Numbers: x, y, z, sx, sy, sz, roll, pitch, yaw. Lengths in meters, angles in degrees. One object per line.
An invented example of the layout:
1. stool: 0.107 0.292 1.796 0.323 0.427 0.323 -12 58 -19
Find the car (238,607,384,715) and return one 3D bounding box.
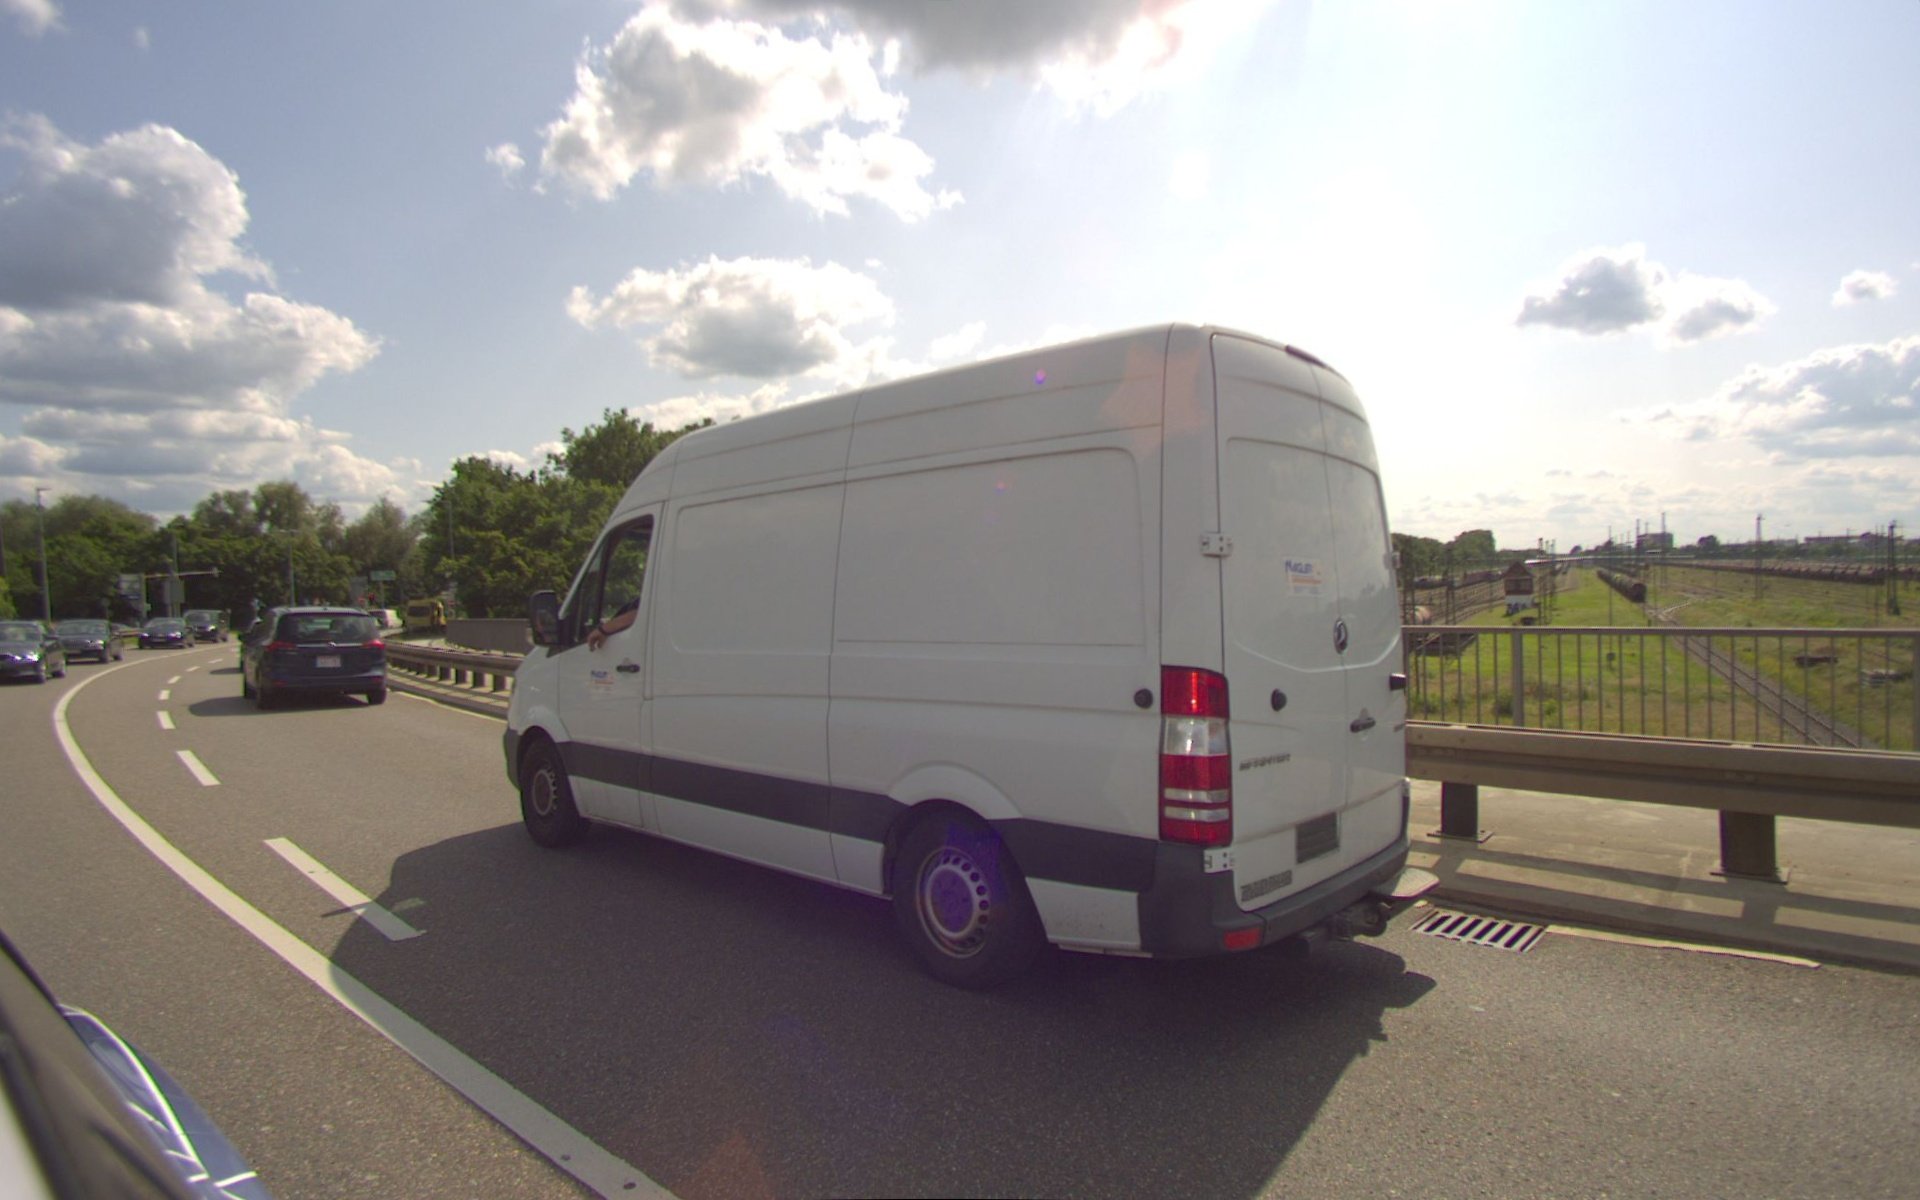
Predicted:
1. car: -11.426 0.950 17.682 1.695 1.644 4.436 0 -1 -39

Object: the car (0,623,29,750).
1. car: -11.549 0.990 10.831 1.767 1.446 4.380 1 -1 -35

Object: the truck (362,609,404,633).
1. truck: -47.358 1.713 83.144 1.933 1.927 5.386 -1 -1 -17

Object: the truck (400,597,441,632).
1. truck: -42.882 1.186 80.566 1.965 2.641 6.123 1 -2 -19

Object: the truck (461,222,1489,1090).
1. truck: -0.560 0.211 5.685 5.946 2.527 1.972 -1 -1 42

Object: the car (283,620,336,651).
1. car: -31.633 1.708 49.321 1.769 1.385 4.595 -1 0 -28

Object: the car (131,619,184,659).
1. car: -37.704 1.798 47.624 1.612 1.524 3.730 -3 4 -34

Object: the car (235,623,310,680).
1. car: -19.360 1.395 28.632 1.636 1.465 4.338 0 -1 -33

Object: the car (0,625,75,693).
1. car: -22.212 1.322 23.514 1.828 1.373 4.012 0 0 -32

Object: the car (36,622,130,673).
1. car: -29.144 1.527 33.777 1.793 1.347 4.741 -4 3 -34
